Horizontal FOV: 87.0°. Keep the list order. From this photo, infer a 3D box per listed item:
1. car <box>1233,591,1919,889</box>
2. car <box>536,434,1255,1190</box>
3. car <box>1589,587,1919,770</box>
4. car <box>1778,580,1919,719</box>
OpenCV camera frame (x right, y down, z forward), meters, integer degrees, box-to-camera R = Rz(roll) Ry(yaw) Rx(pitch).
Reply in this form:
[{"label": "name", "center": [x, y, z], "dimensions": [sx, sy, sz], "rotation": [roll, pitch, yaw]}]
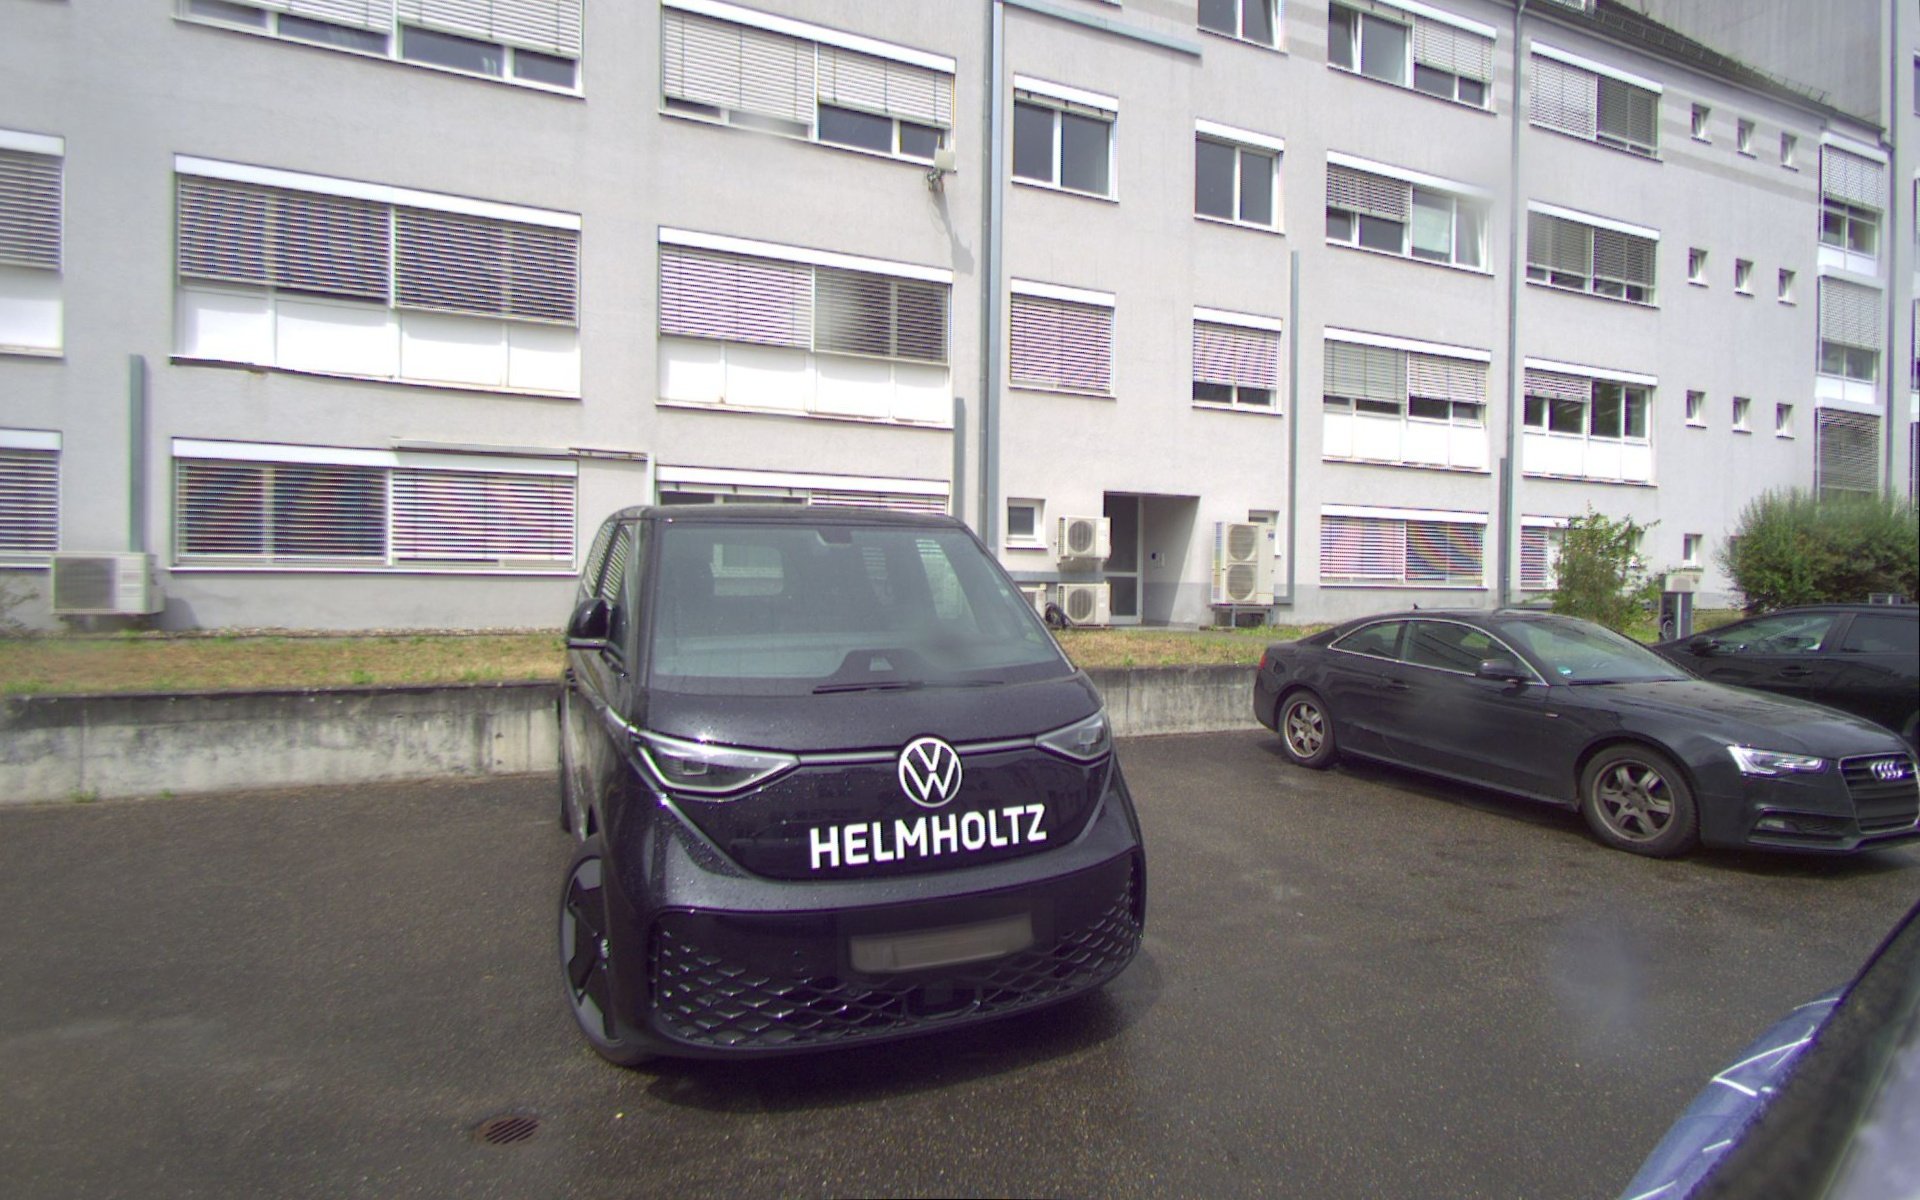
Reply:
[{"label": "car", "center": [4.157, 0.686, 7.362], "dimensions": [1.821, 1.365, 4.377], "rotation": [1, 1, -24]}, {"label": "car", "center": [-0.952, 0.430, 5.055], "dimensions": [2.067, 1.856, 4.735], "rotation": [0, 2, -24]}, {"label": "car", "center": [8.458, 0.651, 9.291], "dimensions": [1.899, 1.418, 4.193], "rotation": [0, 2, -24]}, {"label": "car", "center": [11.441, 0.579, 10.577], "dimensions": [1.794, 1.473, 4.121], "rotation": [0, 2, -21]}]
